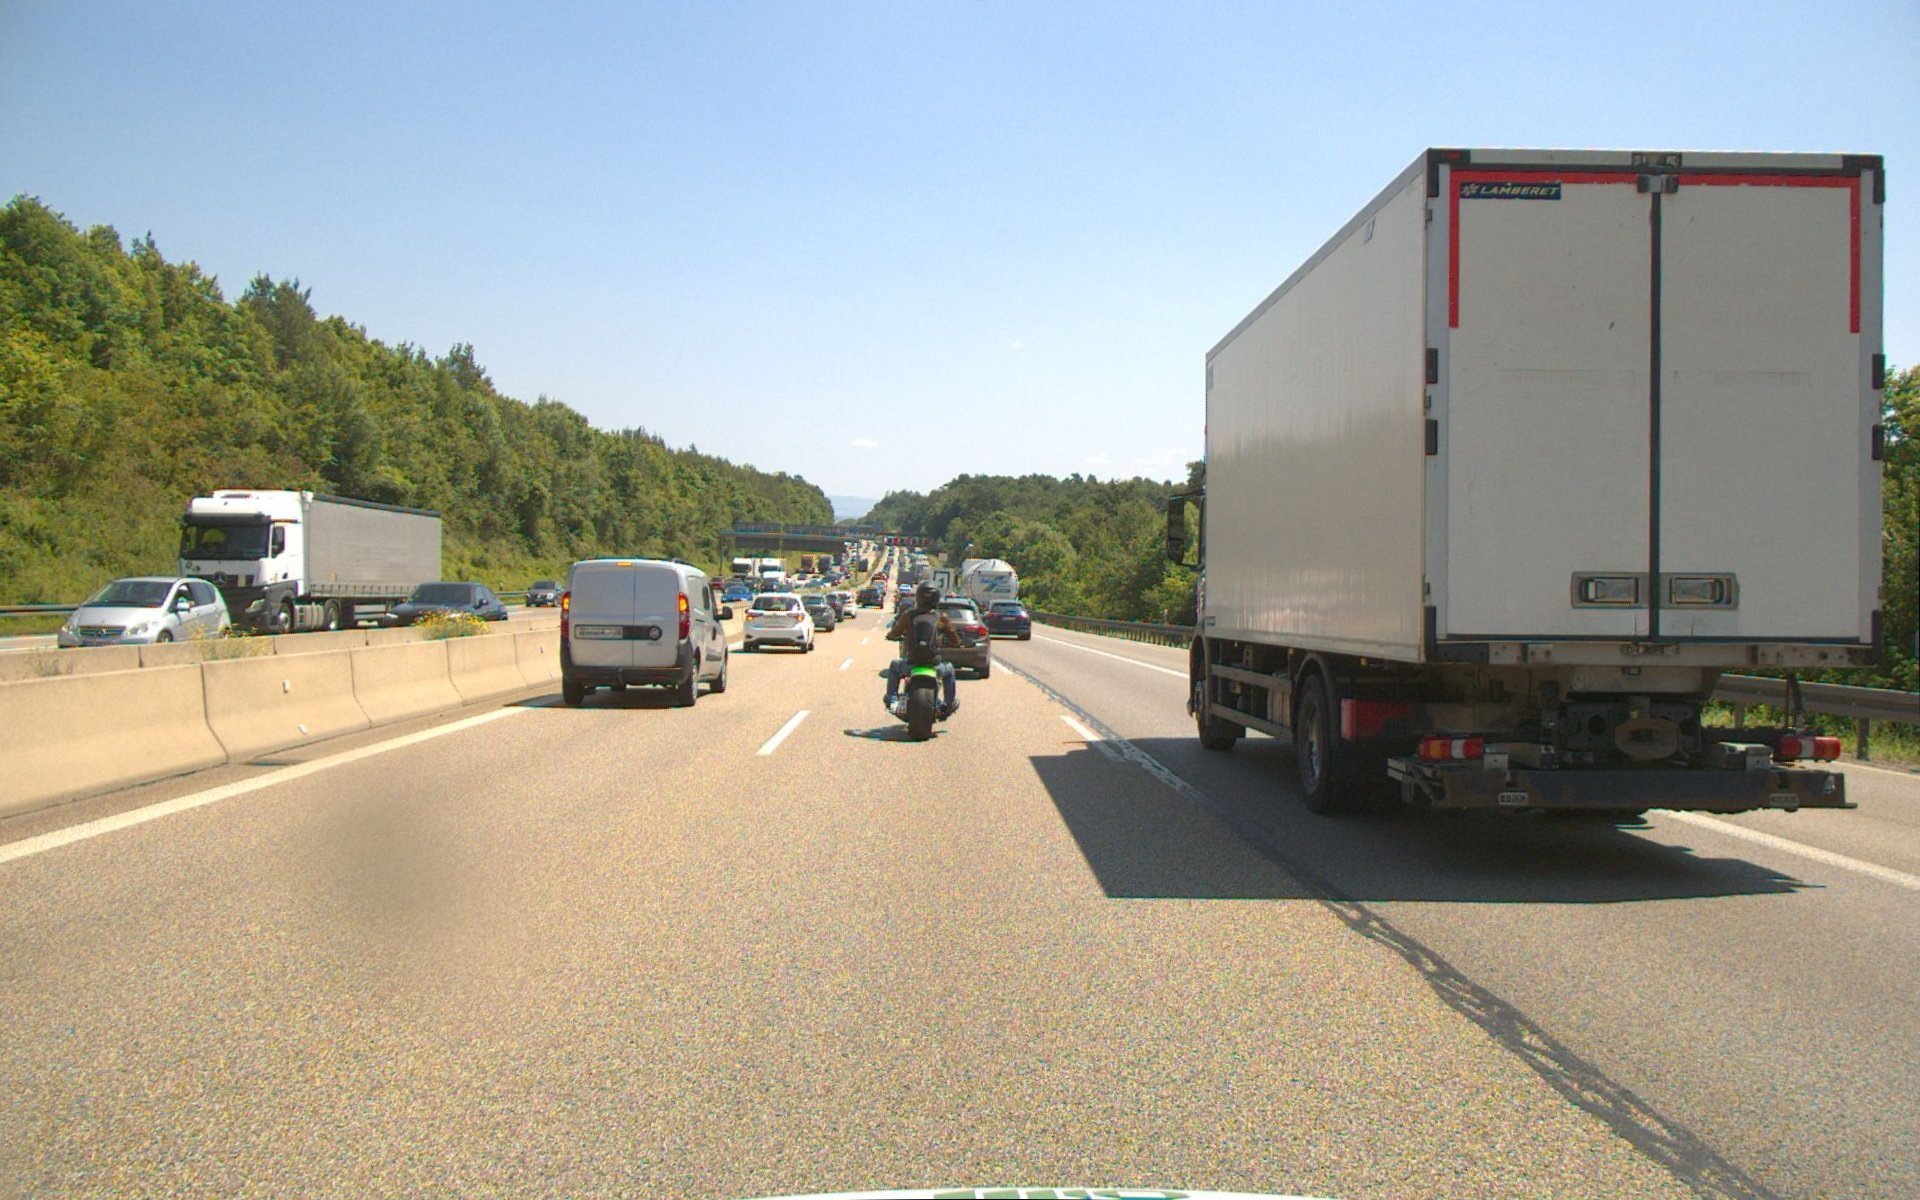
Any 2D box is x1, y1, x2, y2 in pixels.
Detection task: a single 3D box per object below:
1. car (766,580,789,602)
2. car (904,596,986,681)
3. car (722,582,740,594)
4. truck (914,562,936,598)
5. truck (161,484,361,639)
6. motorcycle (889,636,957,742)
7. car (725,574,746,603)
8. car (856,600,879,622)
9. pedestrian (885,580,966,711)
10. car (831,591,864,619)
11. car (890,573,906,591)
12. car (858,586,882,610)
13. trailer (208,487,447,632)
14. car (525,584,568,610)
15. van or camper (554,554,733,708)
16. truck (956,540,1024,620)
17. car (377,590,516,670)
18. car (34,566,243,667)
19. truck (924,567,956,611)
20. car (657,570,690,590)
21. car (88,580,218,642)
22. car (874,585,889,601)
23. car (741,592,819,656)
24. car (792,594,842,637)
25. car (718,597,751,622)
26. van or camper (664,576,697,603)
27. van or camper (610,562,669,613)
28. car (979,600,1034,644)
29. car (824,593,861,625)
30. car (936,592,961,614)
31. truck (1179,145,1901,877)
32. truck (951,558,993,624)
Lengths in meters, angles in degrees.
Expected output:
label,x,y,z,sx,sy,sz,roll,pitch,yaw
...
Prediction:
label,x,y,z,sx,sy,sz,roll,pitch,yaw
car,-16.880,-0.842,152.933,1.854,1.982,3.997,1,-1,-4
car,-0.258,0.698,32.349,1.501,1.536,4.000,1,0,0
car,-29.425,-1.517,212.533,1.727,1.394,4.499,2,0,-2
truck,-5.427,-3.045,254.610,2.973,5.228,9.978,4,0,-2
truck,-19.440,-0.960,46.518,2.756,3.977,7.311,1,-1,-3
motorcycle,-0.400,0.941,18.114,0.677,1.033,2.121,1,0,-1
car,-30.643,-1.566,225.805,2.400,3.941,4.563,1,0,-2
car,-8.612,1.032,153.710,1.953,2.049,3.999,1,-1,-2
pedestrian,-0.374,0.481,18.009,0.832,1.385,0.961,1,0,-1
car,-6.399,0.277,94.635,1.665,1.504,3.998,3,0,-2
car,-9.609,-2.857,256.421,2.454,2.632,5.014,3,0,-2
car,-7.486,-0.208,138.041,1.842,1.892,3.999,3,0,-2
trailer,-19.624,-1.068,52.609,2.756,3.977,13.819,1,0,-2
car,-25.050,-0.186,100.316,1.545,1.487,4.387,1,0,-1
van or camper,-4.308,0.412,23.103,1.759,1.925,4.158,1,-1,-2
truck,1.415,-0.910,83.381,2.928,3.736,9.283,1,0,-2
car,-11.604,0.644,37.673,1.773,1.669,4.601,1,0,-1
car,-14.930,0.291,30.328,1.790,1.699,4.104,1,0,-1
truck,-2.286,-1.274,184.889,2.973,4.621,9.978,4,0,-2
car,-21.583,-1.496,124.837,1.765,1.370,4.721,1,0,-2
car,-23.106,0.298,47.535,1.773,1.669,4.097,1,0,-1
car,-10.448,-0.920,221.484,1.890,2.049,3.999,1,-1,-2
car,-4.644,0.583,43.209,1.665,1.504,3.998,3,0,-2
car,-5.508,0.559,63.991,1.665,1.504,3.998,3,0,-2
car,-14.298,0.585,104.963,1.676,1.564,4.126,1,0,-2
van or camper,-21.981,-0.812,130.300,2.034,2.011,3.704,1,0,-1
van or camper,-18.377,-0.679,95.145,2.224,2.783,6.802,1,0,-2
car,1.752,0.827,63.242,1.792,1.496,3.999,4,0,-2
car,-5.944,0.436,83.743,1.665,1.504,3.998,3,0,-2
car,-0.880,0.236,126.627,1.751,1.582,3.802,3,0,-2
truck,3.784,-0.486,13.827,2.633,3.944,9.780,0,0,0
truck,0.653,-0.459,92.515,1.954,3.584,4.747,1,-1,-4
